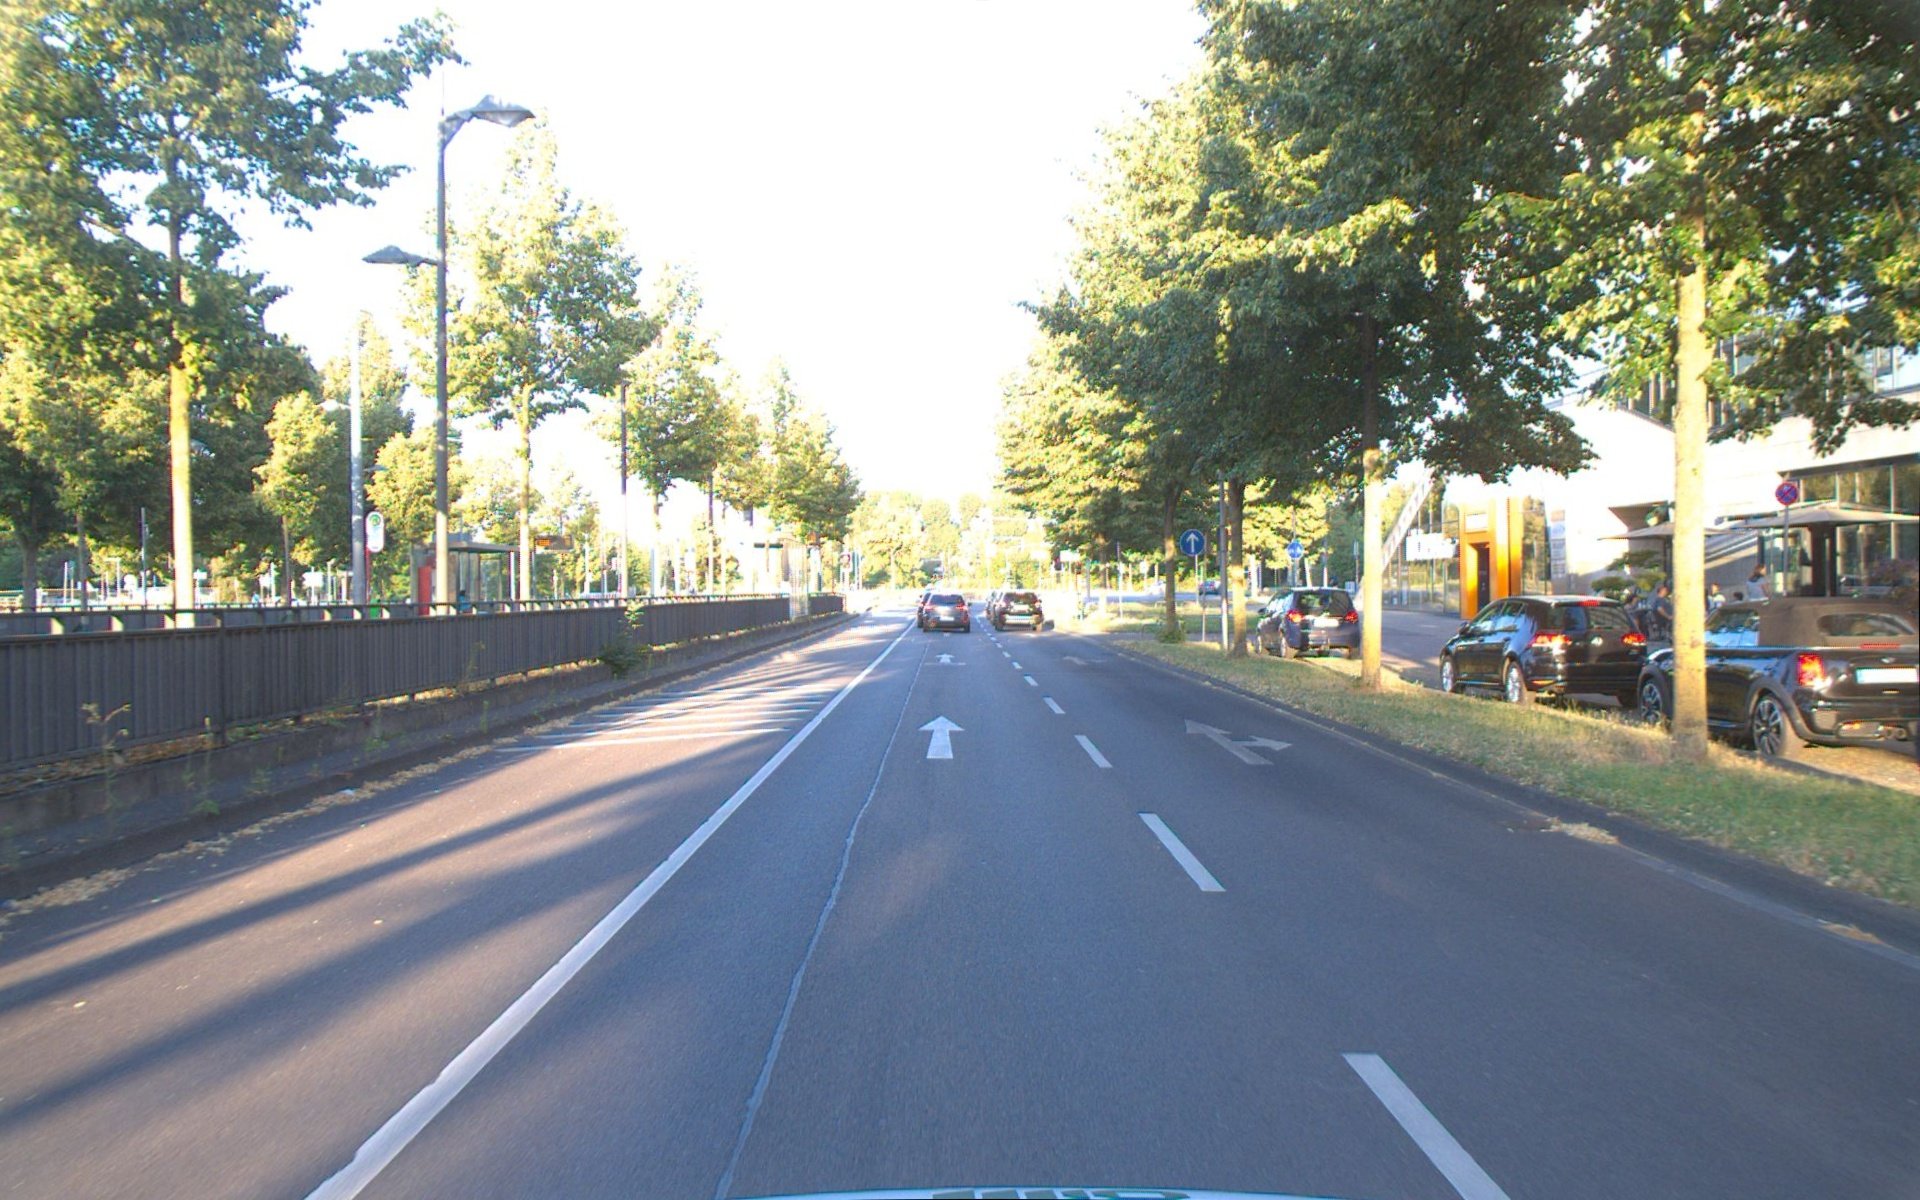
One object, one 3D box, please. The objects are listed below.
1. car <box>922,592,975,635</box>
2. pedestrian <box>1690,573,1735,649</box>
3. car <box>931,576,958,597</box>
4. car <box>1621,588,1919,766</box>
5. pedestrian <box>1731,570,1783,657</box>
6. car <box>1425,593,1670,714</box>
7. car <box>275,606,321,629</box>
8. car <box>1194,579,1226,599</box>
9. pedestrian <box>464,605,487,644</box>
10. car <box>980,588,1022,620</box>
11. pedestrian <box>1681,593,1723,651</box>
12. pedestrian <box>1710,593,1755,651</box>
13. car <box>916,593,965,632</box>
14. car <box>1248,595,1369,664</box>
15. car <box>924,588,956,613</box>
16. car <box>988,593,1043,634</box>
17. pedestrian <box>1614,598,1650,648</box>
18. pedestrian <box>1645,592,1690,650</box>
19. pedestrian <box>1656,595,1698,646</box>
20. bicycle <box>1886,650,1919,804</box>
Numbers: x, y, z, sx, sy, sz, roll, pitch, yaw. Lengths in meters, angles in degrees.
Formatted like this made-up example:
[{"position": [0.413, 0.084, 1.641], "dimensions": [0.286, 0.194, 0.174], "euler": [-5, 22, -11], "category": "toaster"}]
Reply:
[{"position": [-0.444, 0.477, 60.523], "dimensions": [1.873, 1.512, 3.999], "euler": [-1, 0, -1], "category": "car"}, {"position": [17.487, 0.258, 38.452], "dimensions": [0.625, 1.748, 0.695], "euler": [-1, 0, -20], "category": "pedestrian"}, {"position": [-1.132, -0.960, 118.343], "dimensions": [1.873, 1.512, 3.999], "euler": [-1, 0, -1], "category": "car"}, {"position": [7.963, 0.647, 16.040], "dimensions": [1.543, 1.498, 3.881], "euler": [-1, 0, 0], "category": "car"}, {"position": [16.451, 0.273, 34.148], "dimensions": [0.696, 1.767, 0.682], "euler": [-1, 0, -31], "category": "pedestrian"}, {"position": [8.031, 0.666, 23.042], "dimensions": [1.742, 1.498, 4.286], "euler": [-1, 0, -2], "category": "car"}, {"position": [-50.818, 1.340, 126.987], "dimensions": [1.953, 1.691, 3.999], "euler": [-1, 0, -1], "category": "car"}, {"position": [23.484, -1.023, 155.166], "dimensions": [1.954, 1.758, 3.997], "euler": [-1, 0, 25], "category": "car"}, {"position": [-17.126, 0.863, 58.430], "dimensions": [0.602, 1.342, 0.744], "euler": [-1, 0, -4], "category": "pedestrian"}, {"position": [2.013, 0.163, 81.700], "dimensions": [1.873, 1.512, 3.999], "euler": [-1, 0, -1], "category": "car"}, {"position": [16.860, 0.488, 37.583], "dimensions": [0.567, 1.305, 0.738], "euler": [-1, 0, -4], "category": "pedestrian"}, {"position": [17.575, 0.496, 37.619], "dimensions": [0.570, 1.305, 0.735], "euler": [-1, 0, -19], "category": "pedestrian"}, {"position": [-0.800, 0.489, 66.856], "dimensions": [1.873, 1.512, 3.999], "euler": [-1, 0, -1], "category": "car"}, {"position": [7.968, 0.639, 38.177], "dimensions": [1.722, 1.491, 4.156], "euler": [-1, 0, -3], "category": "car"}, {"position": [-1.246, 0.021, 101.677], "dimensions": [1.873, 1.512, 3.999], "euler": [-1, 0, -1], "category": "car"}, {"position": [2.117, 0.503, 64.040], "dimensions": [1.873, 1.512, 3.999], "euler": [-1, 0, -1], "category": "car"}, {"position": [16.733, 0.571, 41.203], "dimensions": [0.560, 1.207, 0.861], "euler": [-1, 0, 1], "category": "pedestrian"}, {"position": [16.215, 0.474, 37.928], "dimensions": [0.617, 1.305, 0.712], "euler": [-1, 0, -22], "category": "pedestrian"}, {"position": [17.417, 0.487, 40.167], "dimensions": [0.609, 1.207, 0.712], "euler": [-1, 0, -37], "category": "pedestrian"}, {"position": [6.470, 0.843, 10.351], "dimensions": [0.312, 0.997, 1.846], "euler": [-1, 0, 1], "category": "bicycle"}]
